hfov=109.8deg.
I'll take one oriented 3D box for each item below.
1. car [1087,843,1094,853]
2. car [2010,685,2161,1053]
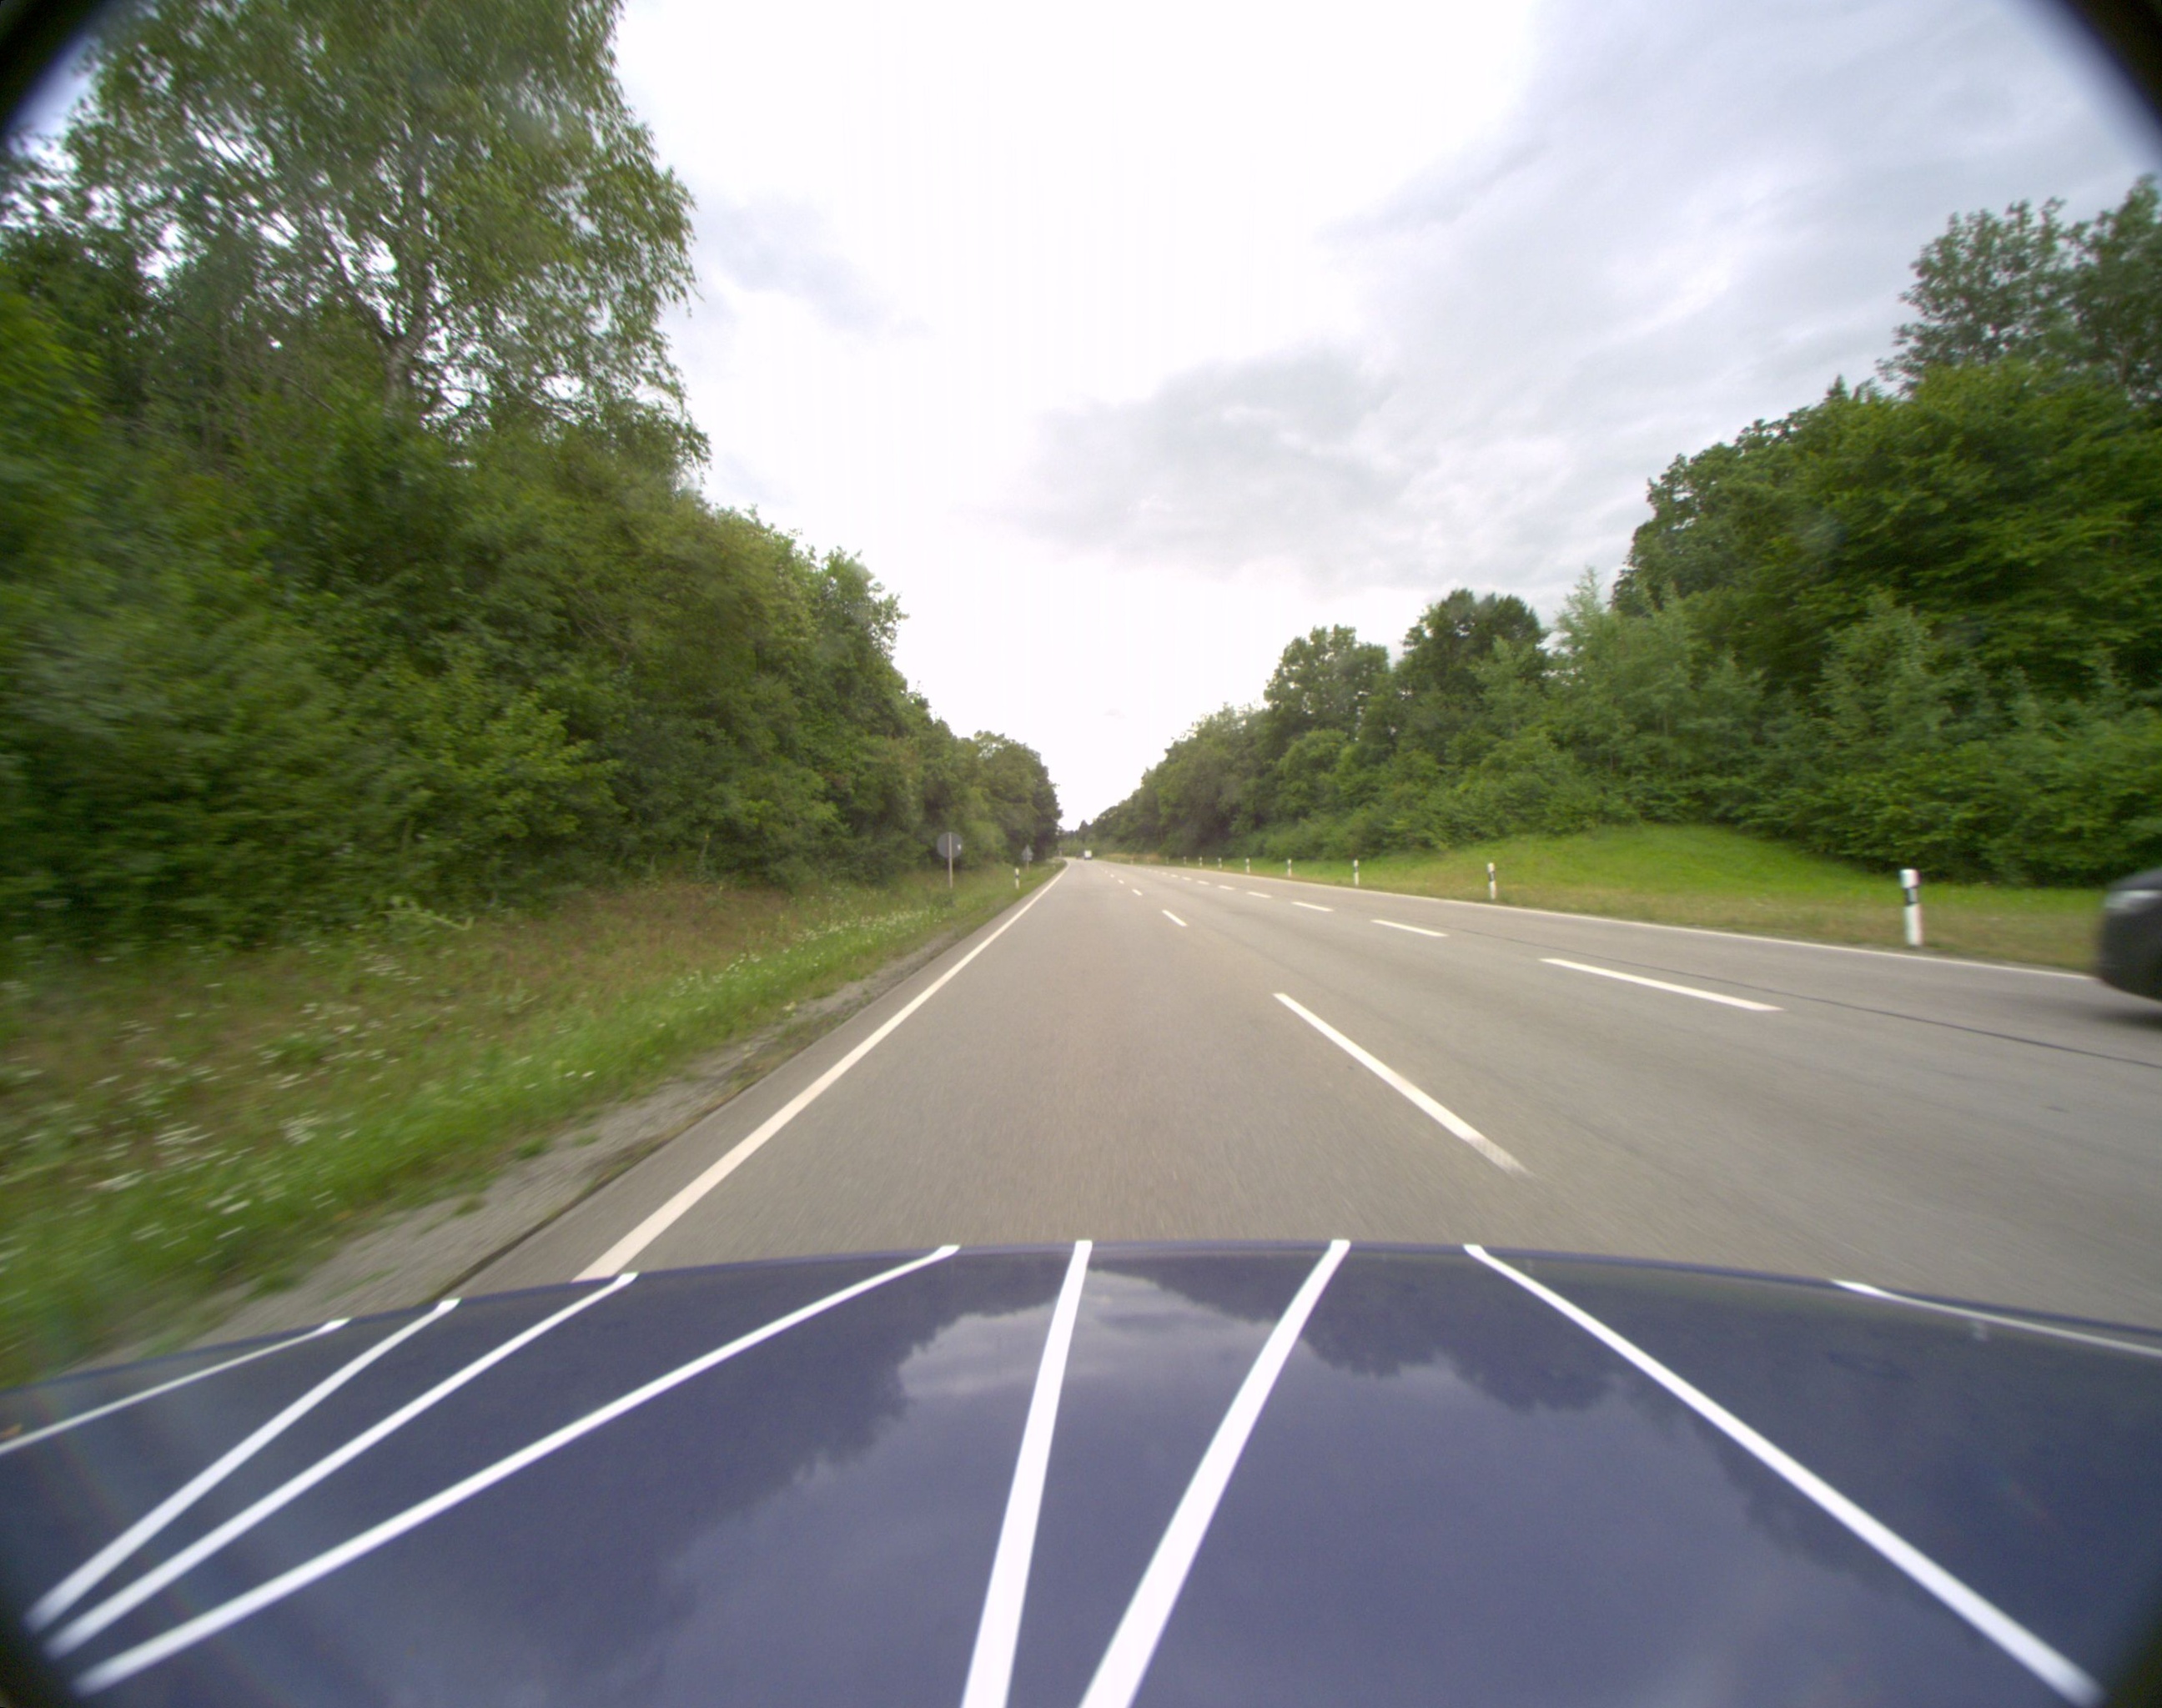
[{"bbox_3d":[2.670,-1.771,213.847,1.998,2.681,5.977,-2,1,0],"label":"car"},{"bbox_3d":[8.963,0.100,2.596,2.263,2.515,7.157,-1,0,-9],"label":"car"}]
